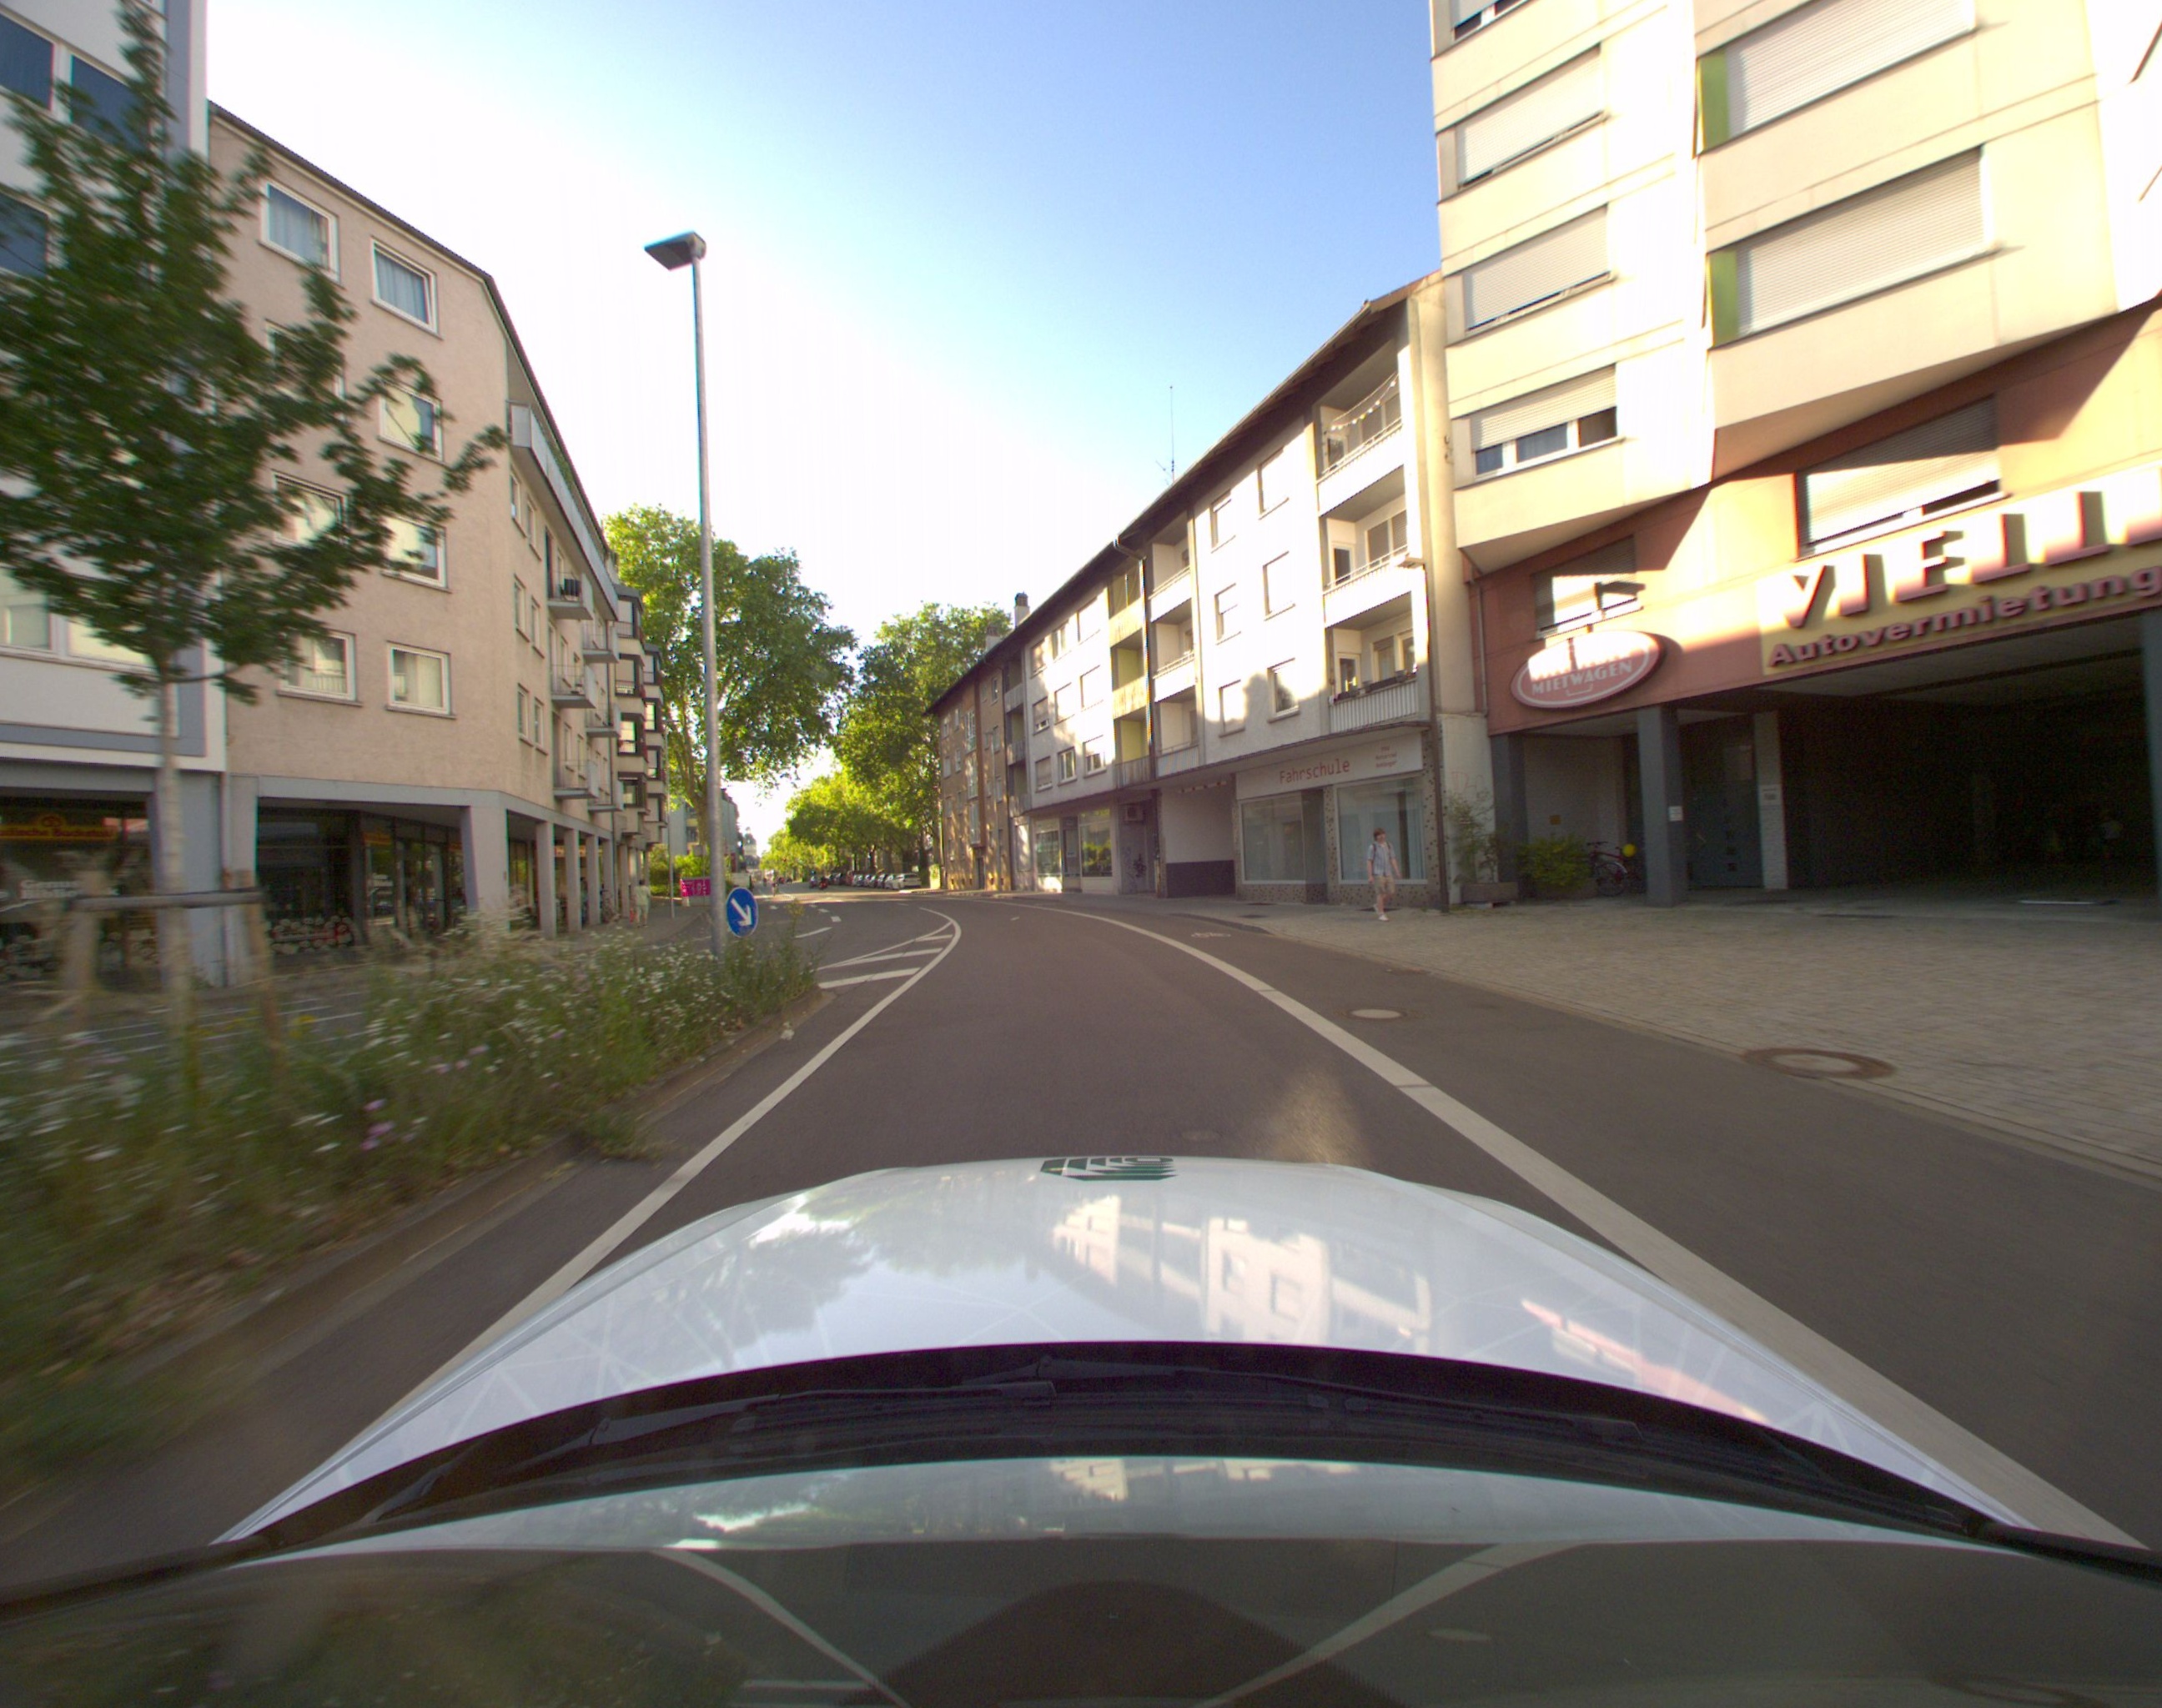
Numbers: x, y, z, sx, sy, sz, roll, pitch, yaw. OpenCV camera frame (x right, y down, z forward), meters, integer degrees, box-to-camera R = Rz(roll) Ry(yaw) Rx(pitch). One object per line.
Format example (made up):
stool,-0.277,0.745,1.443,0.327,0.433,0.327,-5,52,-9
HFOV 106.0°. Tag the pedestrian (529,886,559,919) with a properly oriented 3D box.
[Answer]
pedestrian,-21.830,1.973,33.121,0.835,1.265,0.848,-3,0,-22

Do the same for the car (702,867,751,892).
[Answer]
car,-35.350,2.505,81.257,4.325,2.226,1.983,-3,-1,-26

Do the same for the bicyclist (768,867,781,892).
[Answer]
bicyclist,-24.842,2.037,66.018,0.820,1.947,0.850,-3,-1,-27

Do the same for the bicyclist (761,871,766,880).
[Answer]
bicyclist,-46.169,3.130,118.505,0.544,1.394,0.504,-3,-1,-28

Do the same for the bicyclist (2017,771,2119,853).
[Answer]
bicyclist,21.377,-0.879,17.670,0.686,1.686,1.195,-1,-1,-1

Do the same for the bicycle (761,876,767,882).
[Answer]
bicycle,-46.127,3.664,118.460,0.544,0.843,1.590,-3,0,-28

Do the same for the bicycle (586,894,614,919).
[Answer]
bicycle,-19.228,2.077,32.596,0.635,0.884,1.605,-3,0,-20

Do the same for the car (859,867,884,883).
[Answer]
car,-23.737,2.387,92.105,2.042,1.719,4.062,-3,-1,-23

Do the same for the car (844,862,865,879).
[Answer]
car,-29.019,2.109,104.093,2.042,1.934,4.062,-3,0,-23

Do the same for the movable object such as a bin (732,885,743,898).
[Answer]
movable object such as a bin,-22.197,2.421,52.637,0.689,0.852,0.575,-1,-1,-23

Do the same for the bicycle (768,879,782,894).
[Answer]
bicycle,-24.814,2.651,66.029,0.820,1.139,2.317,-3,-1,-27

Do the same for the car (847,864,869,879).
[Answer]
car,-27.434,2.154,100.058,2.042,1.719,4.062,-3,0,-23

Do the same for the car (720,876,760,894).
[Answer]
car,-38.431,3.518,91.736,4.007,1.743,1.983,-3,-1,-25

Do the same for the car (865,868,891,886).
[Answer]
car,-21.551,2.425,86.409,2.042,1.759,4.062,-3,-1,-23

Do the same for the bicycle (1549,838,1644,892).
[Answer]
bicycle,10.544,0.233,16.708,0.496,1.038,1.626,-3,0,-23

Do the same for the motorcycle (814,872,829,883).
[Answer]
motorcycle,-26.074,2.349,81.736,0.978,1.132,2.780,-2,0,-27

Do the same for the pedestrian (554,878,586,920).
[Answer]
pedestrian,-22.023,1.925,35.121,0.832,1.724,0.851,-2,-1,-10

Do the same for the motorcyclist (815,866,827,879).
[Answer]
motorcyclist,-26.079,1.853,81.711,0.976,1.347,1.127,-2,-1,-29

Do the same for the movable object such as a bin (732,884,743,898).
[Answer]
movable object such as a bin,-22.438,2.395,53.187,0.689,0.907,0.575,-1,-1,-23

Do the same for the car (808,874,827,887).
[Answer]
car,-31.184,3.119,96.328,1.931,1.388,3.971,-3,-1,-21

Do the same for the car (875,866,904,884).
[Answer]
car,-19.112,2.075,81.093,2.042,1.617,4.062,-3,-1,-23

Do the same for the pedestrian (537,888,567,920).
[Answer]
pedestrian,-22.124,2.086,34.066,0.835,1.265,0.848,-2,-1,-22

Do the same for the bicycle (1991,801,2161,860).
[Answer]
bicycle,21.395,-0.463,17.512,0.686,1.163,2.577,-1,-1,-1

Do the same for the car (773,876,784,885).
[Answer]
car,-67.099,5.891,180.420,2.042,1.742,4.062,-3,-1,-23

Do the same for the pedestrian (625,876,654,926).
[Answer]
pedestrian,-15.715,1.656,28.985,0.809,1.724,0.769,-2,-1,-26

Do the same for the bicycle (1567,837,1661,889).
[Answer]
bicycle,11.236,0.190,17.213,0.496,1.038,1.626,-3,0,-23

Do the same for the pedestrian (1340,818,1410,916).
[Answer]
pedestrian,5.914,0.264,16.417,0.734,1.854,0.941,-5,-1,-24

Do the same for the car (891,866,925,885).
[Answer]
car,-15.007,1.897,70.505,2.042,1.504,4.062,-3,-1,-23

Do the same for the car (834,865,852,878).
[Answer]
car,-33.518,2.481,114.640,2.042,1.742,4.062,-3,0,-23
